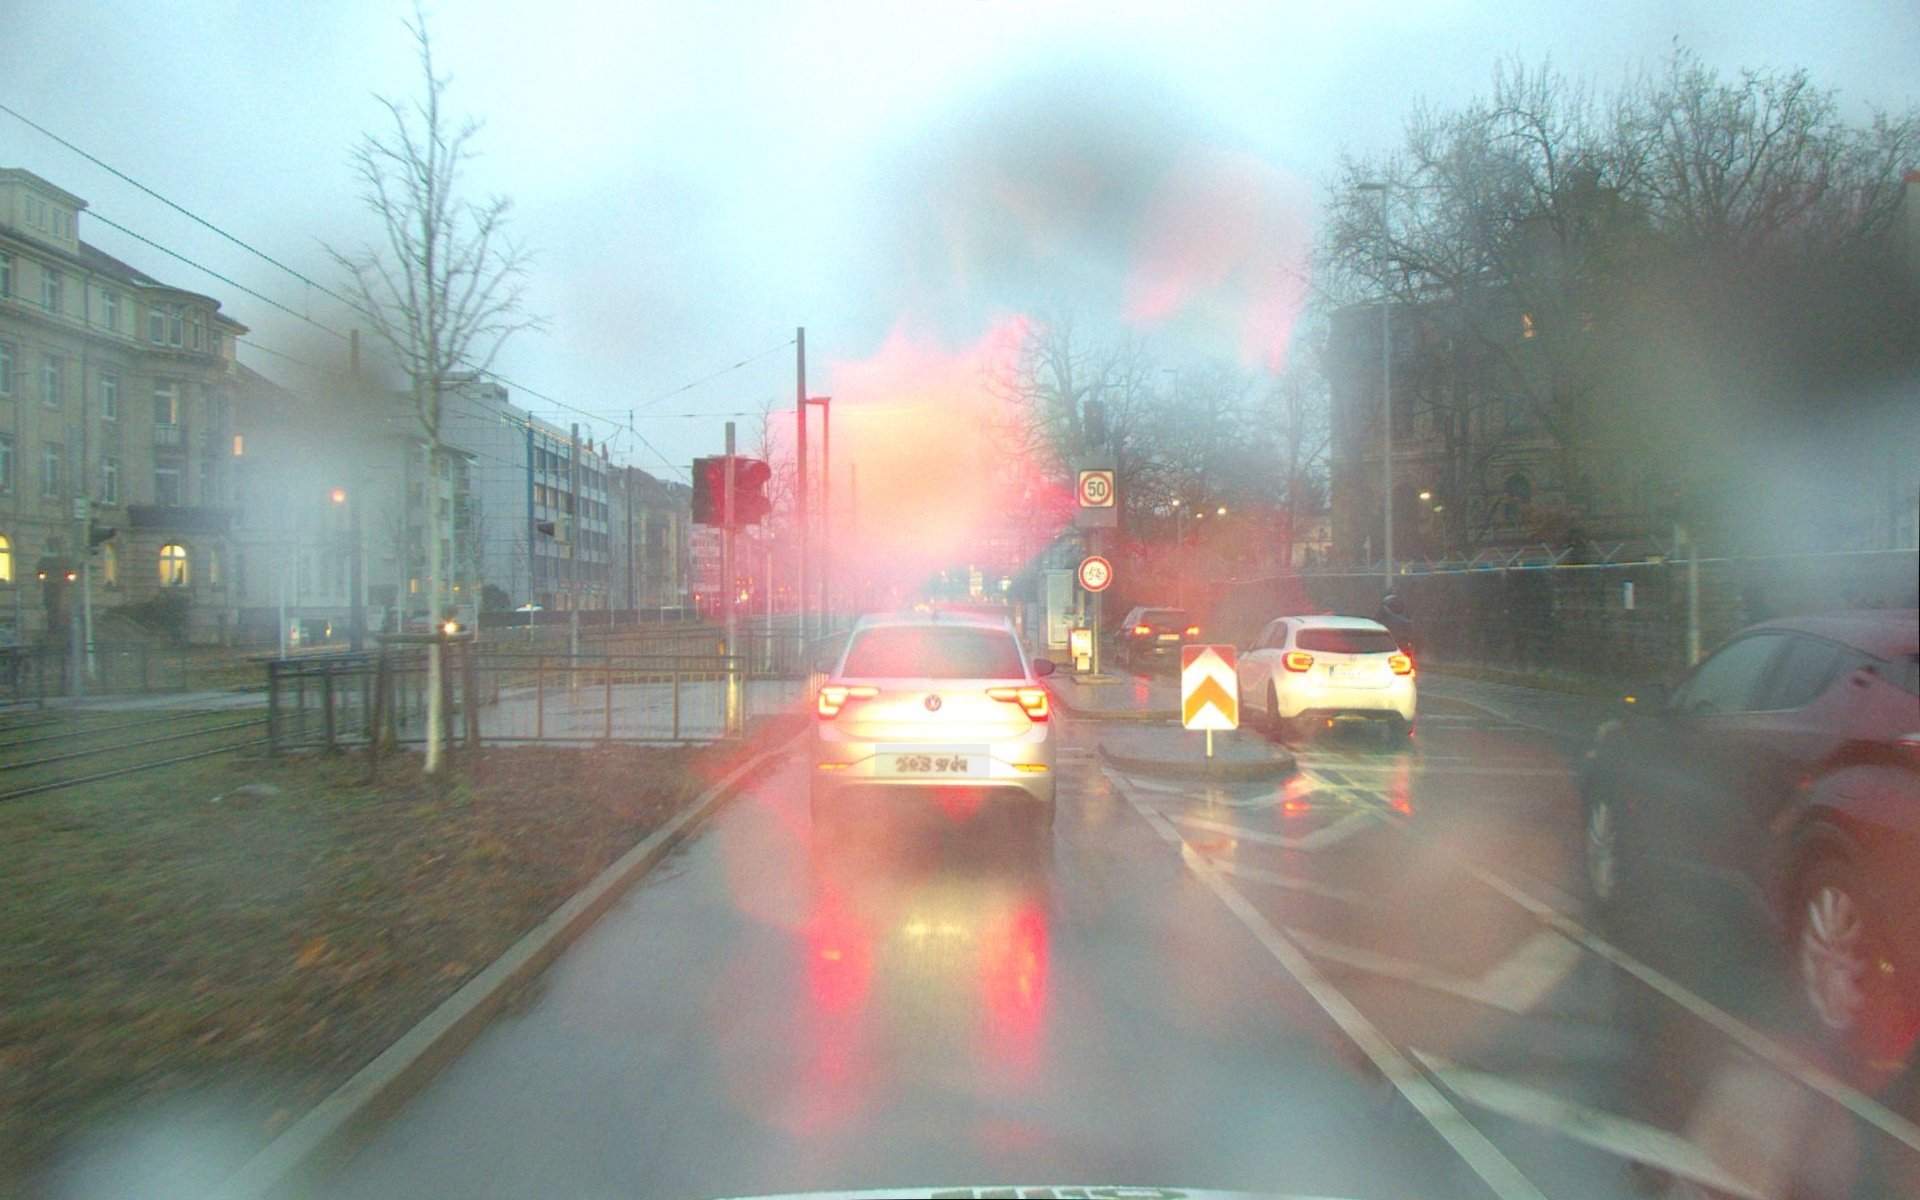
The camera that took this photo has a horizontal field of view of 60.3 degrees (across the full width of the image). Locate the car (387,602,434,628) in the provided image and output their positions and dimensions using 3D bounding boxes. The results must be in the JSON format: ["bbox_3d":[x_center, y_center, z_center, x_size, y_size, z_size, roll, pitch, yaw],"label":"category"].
[{"bbox_3d":[-33.464,0.894,100.798,1.770,1.461,3.924,-1,0,-4],"label":"car"}]

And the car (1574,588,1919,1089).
[{"bbox_3d":[3.930,0.763,6.794,1.686,1.505,4.002,1,-1,6],"label":"car"}]

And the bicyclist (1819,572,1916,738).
[{"bbox_3d":[9.642,0.570,17.571,0.802,1.708,0.694,-1,-1,38],"label":"bicyclist"}]

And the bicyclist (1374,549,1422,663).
[{"bbox_3d":[7.033,0.098,26.595,0.490,1.798,0.836,-1,0,-3],"label":"bicyclist"}]

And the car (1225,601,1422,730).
[{"bbox_3d":[4.664,0.807,21.740,1.687,1.505,3.999,1,-1,0],"label":"car"}]

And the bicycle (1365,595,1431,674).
[{"bbox_3d":[7.008,0.534,26.551,0.403,1.206,2.028,-1,0,-3],"label":"bicycle"}]

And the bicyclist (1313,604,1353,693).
[{"bbox_3d":[6.869,0.882,30.501,0.490,1.619,0.836,-1,0,-3],"label":"bicyclist"}]

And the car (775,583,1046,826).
[{"bbox_3d":[-0.316,0.689,12.478,1.687,1.505,3.999,1,-1,0],"label":"car"}]

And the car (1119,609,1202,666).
[{"bbox_3d":[4.989,0.921,41.556,1.590,1.322,3.999,1,-1,0],"label":"car"}]

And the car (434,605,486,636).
[{"bbox_3d":[-29.411,1.196,97.412,1.954,1.722,4.108,-1,0,-4],"label":"car"}]

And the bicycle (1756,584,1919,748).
[{"bbox_3d":[9.724,0.684,17.546,2.204,1.686,0.687,0,-1,39],"label":"bicycle"}]

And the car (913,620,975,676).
[{"bbox_3d":[-0.444,1.363,48.059,1.687,1.505,3.999,1,-1,0],"label":"car"}]

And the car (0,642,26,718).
[{"bbox_3d":[-21.452,1.701,34.472,1.765,1.613,3.998,1,-1,-2],"label":"car"}]

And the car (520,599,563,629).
[{"bbox_3d":[-28.867,0.966,114.271,1.954,1.967,4.908,-1,0,-4],"label":"car"}]
